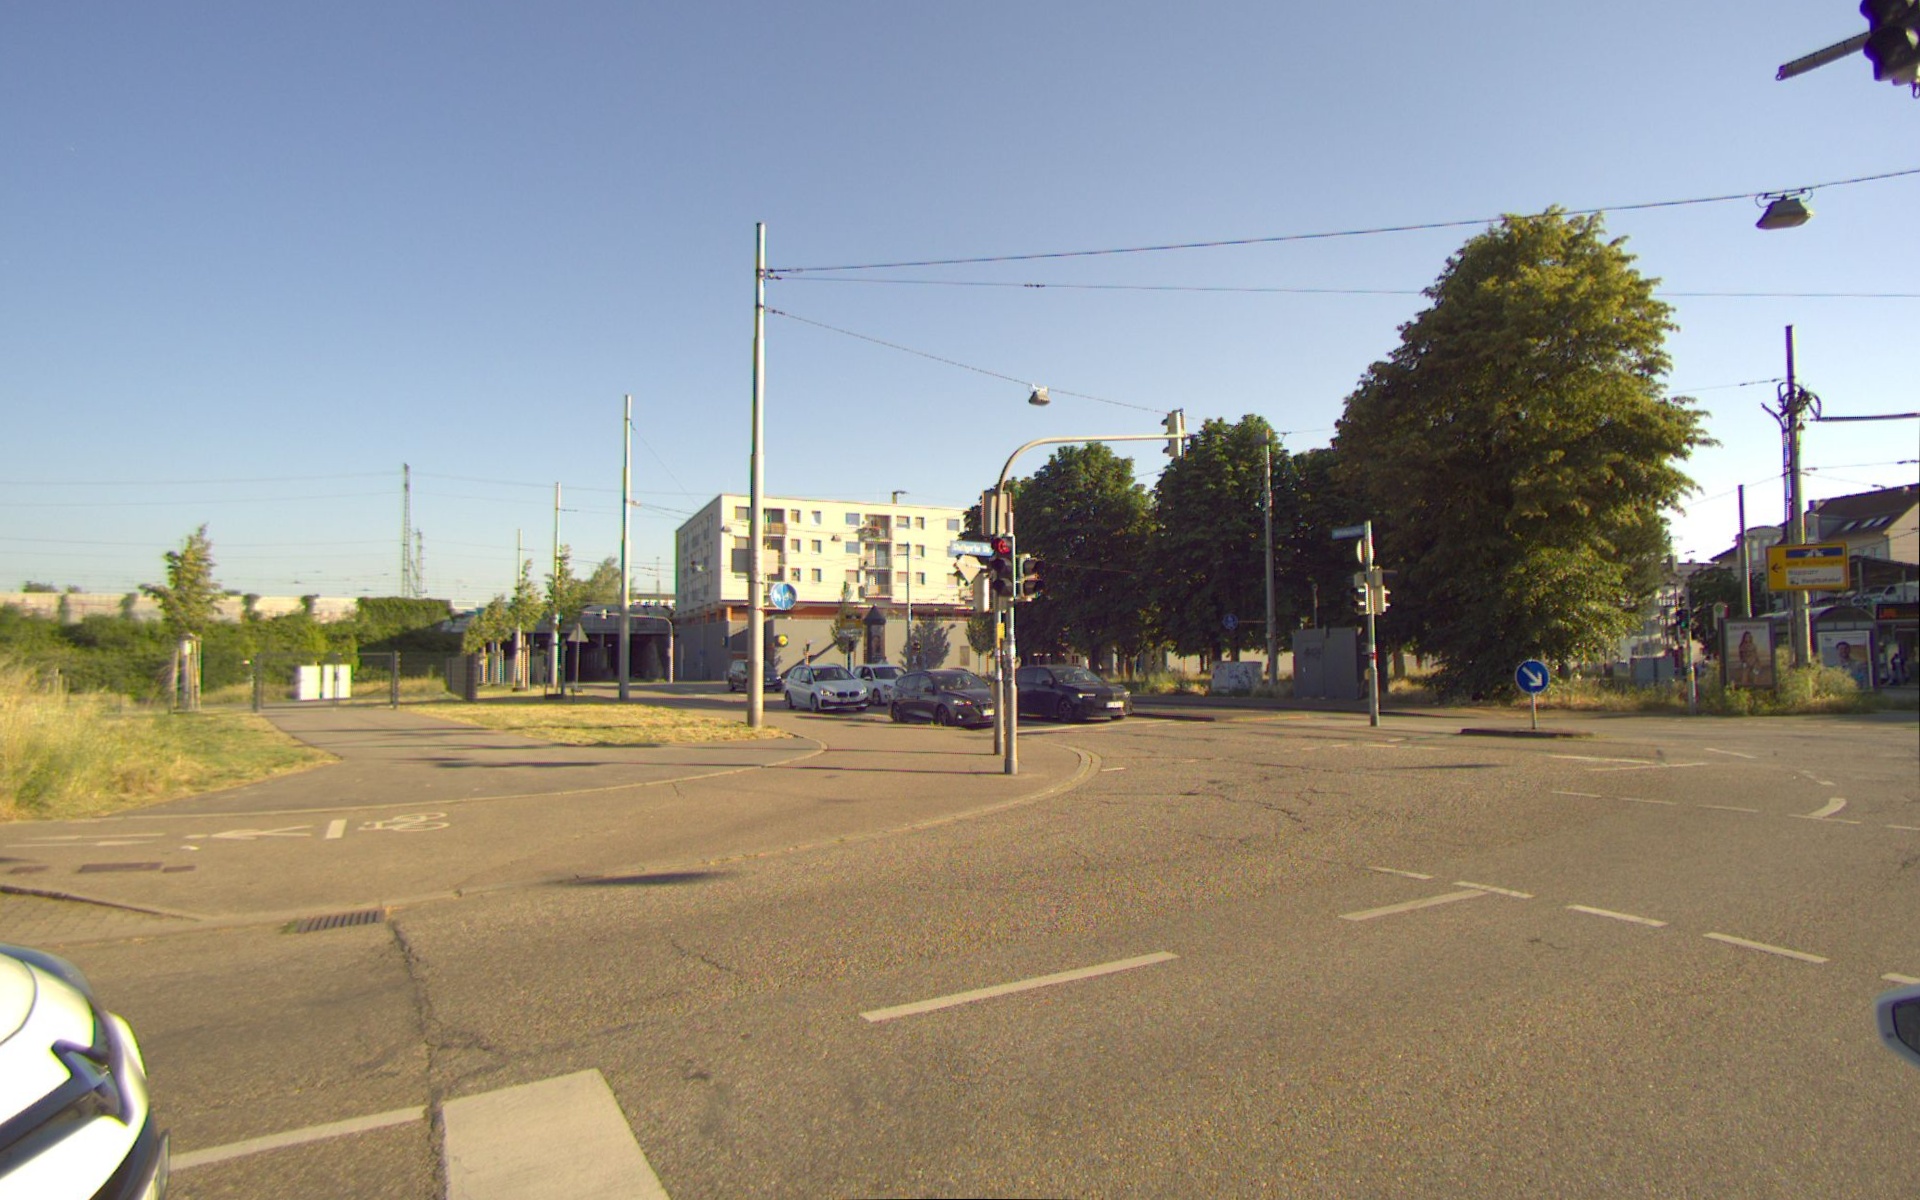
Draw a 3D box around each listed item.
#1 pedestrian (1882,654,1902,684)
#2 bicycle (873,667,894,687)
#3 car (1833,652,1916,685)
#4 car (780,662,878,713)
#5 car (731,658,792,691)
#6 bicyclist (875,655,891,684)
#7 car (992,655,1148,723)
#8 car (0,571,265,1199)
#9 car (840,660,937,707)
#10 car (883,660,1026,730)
[{"bbox_3d":[47.979,3.542,51.715,0.558,1.520,0.677,-2,-4,32],"label":"pedestrian"},{"bbox_3d":[-4.434,4.443,58.150,0.690,1.157,2.192,1,-4,-20],"label":"bicycle"},{"bbox_3d":[59.362,4.428,65.341,2.017,1.987,5.153,-4,-4,19],"label":"car"},{"bbox_3d":[-4.512,2.897,34.040,1.975,1.587,4.246,1,-4,-27],"label":"car"},{"bbox_3d":[-10.267,3.825,51.721,1.975,1.587,4.426,1,-4,-27],"label":"car"},{"bbox_3d":[-4.466,4.023,58.266,0.703,1.650,1.037,1,-3,-20],"label":"bicyclist"},{"bbox_3d":[2.778,2.275,26.408,2.027,1.587,4.423,1,-4,-26],"label":"car"},{"bbox_3d":[-3.056,0.713,1.008,3.733,1.488,1.692,2,-4,-32],"label":"car"},{"bbox_3d":[-2.682,3.031,36.853,1.975,1.587,4.426,1,-4,-27],"label":"car"},{"bbox_3d":[-0.245,2.365,25.769,1.975,1.587,4.246,0,-3,-27],"label":"car"}]
